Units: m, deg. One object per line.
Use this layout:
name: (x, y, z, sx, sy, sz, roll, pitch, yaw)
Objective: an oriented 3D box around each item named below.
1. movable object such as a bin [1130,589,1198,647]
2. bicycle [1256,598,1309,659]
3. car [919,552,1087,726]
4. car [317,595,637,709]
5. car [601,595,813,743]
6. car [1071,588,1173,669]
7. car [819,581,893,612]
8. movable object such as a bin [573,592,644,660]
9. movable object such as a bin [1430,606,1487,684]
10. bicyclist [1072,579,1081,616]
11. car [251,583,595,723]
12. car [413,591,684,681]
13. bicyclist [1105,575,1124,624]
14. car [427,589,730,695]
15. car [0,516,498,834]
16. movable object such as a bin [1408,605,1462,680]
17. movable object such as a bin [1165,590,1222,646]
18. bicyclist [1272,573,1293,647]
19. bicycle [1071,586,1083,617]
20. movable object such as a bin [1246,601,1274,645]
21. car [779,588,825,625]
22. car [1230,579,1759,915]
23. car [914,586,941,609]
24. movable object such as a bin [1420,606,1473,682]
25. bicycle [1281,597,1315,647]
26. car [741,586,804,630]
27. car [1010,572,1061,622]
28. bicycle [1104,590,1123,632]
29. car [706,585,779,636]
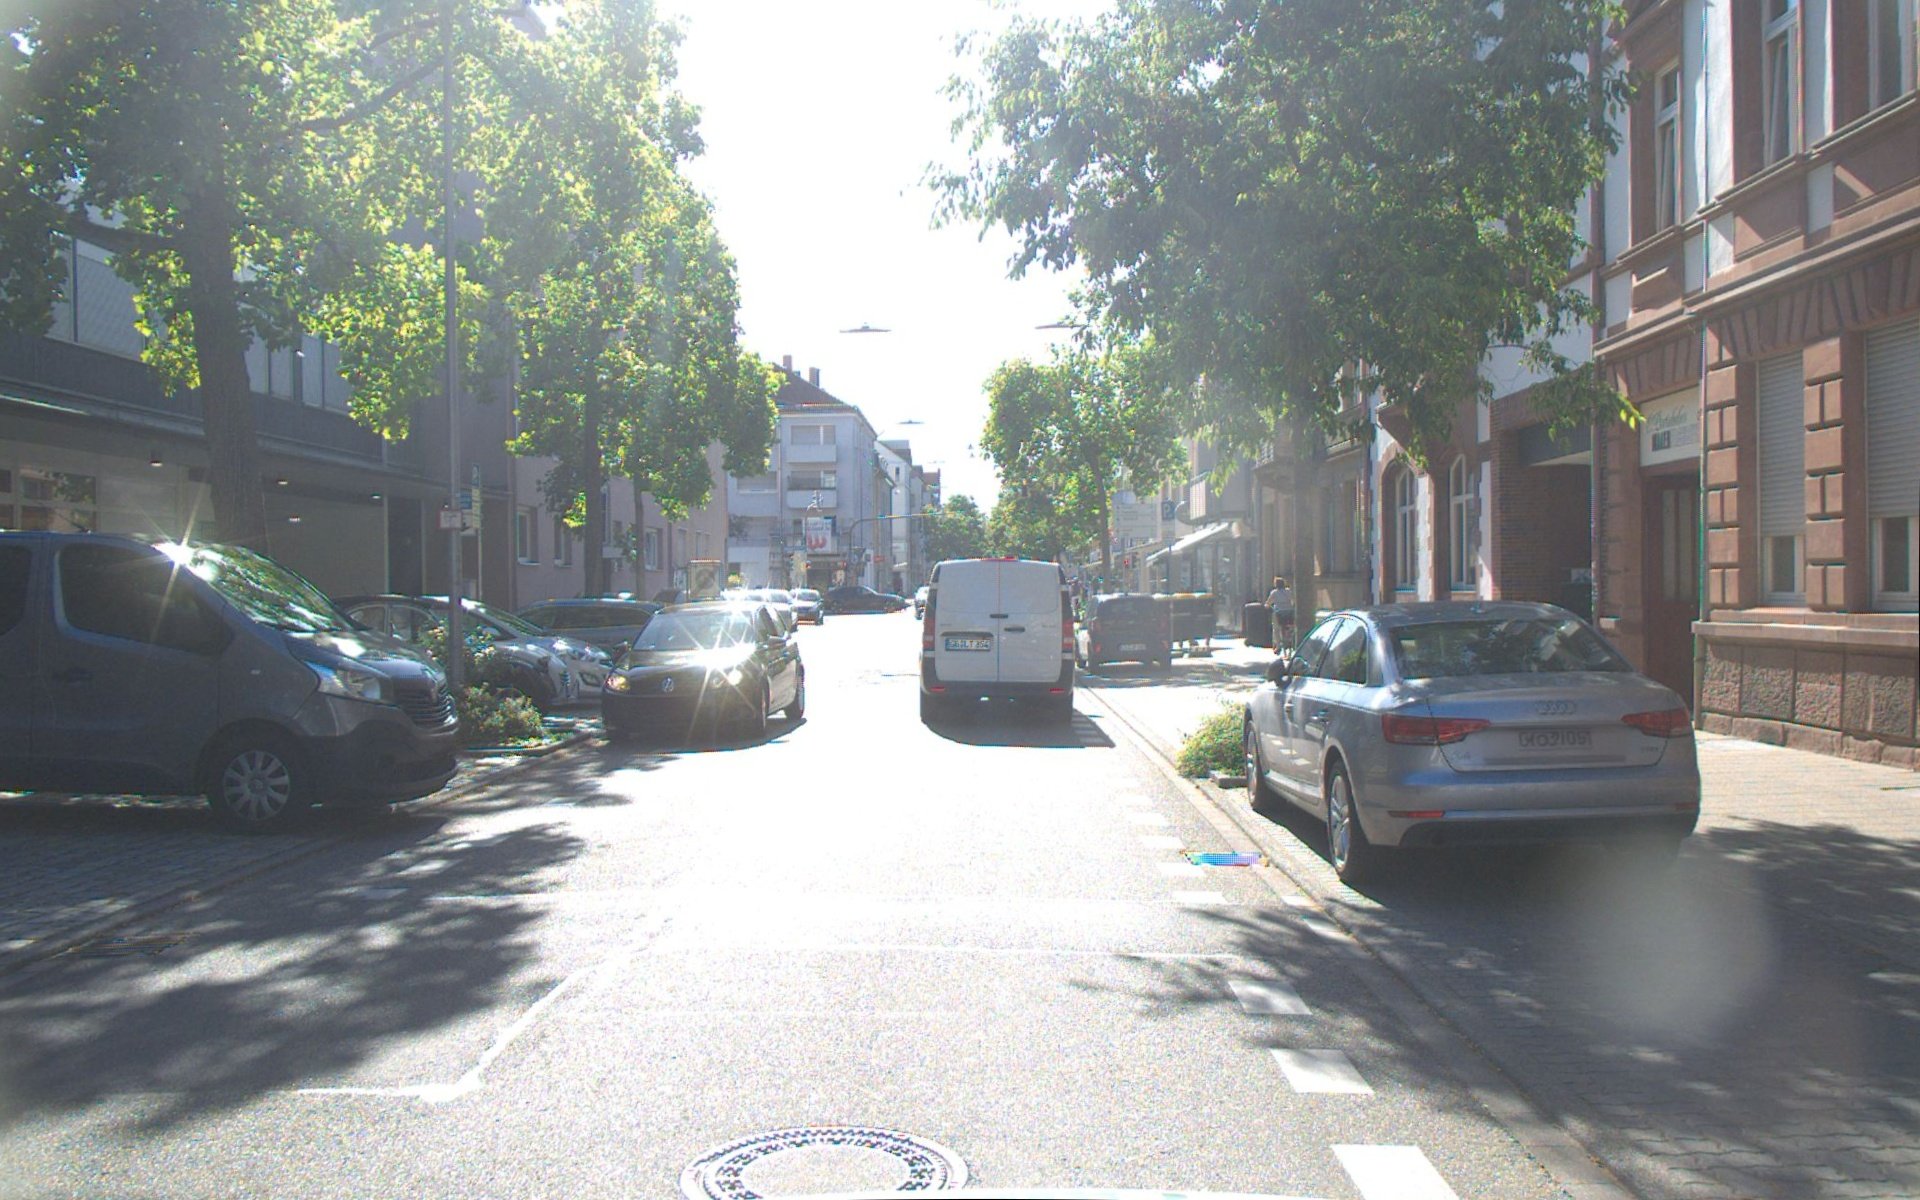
movable object such as a bin: (5.002, 0.435, 40.632, 1.260, 1.371, 1.092, -1, 0, -41)
bicycle: (6.559, 0.564, 33.699, 0.525, 1.169, 2.123, -2, 0, -3)
car: (0.470, 0.412, 21.256, 1.881, 1.947, 4.887, 1, 1, -1)
car: (-6.606, 0.699, 22.952, 3.907, 1.489, 1.812, 0, 0, -2)
car: (-2.771, 0.699, 18.931, 1.726, 1.463, 3.961, -2, 0, 1)
car: (3.169, 0.521, 32.954, 1.602, 1.501, 3.579, -1, 0, -1)
car: (-5.583, -0.199, 88.948, 3.907, 1.668, 1.999, 0, 0, -3)
movable object such as a bin: (-7.744, 0.561, 36.480, 1.204, 1.475, 1.077, 0, 0, 9)
movable object such as a bin: (7.102, 0.637, 23.584, 0.625, 1.087, 0.639, 0, 0, 0)
bicyclist: (5.144, -0.107, 73.144, 0.348, 1.603, 0.481, 1, 0, -2)
car: (-6.323, 0.600, 19.742, 3.523, 1.579, 1.684, 0, 0, 1)
car: (-7.018, 0.602, 28.461, 4.216, 1.458, 1.644, 1, 0, 1)
bicyclist: (4.896, -0.015, 52.279, 0.430, 1.534, 0.497, 5, 0, 0)
car: (-5.848, 0.621, 25.652, 4.215, 1.485, 1.763, 1, 0, 3)
car: (-6.117, 0.460, 11.568, 5.183, 2.008, 2.015, 0, 0, 0)
movable object such as a bin: (7.099, 0.630, 24.740, 0.625, 1.087, 0.632, 0, 0, 0)
movable object such as a bin: (5.895, 0.434, 41.737, 1.022, 1.371, 1.103, 0, 1, 39)
bicyclist: (6.544, 0.200, 33.582, 0.353, 1.502, 0.531, 0, 0, 3)
bicycle: (5.165, 0.051, 72.982, 0.407, 1.333, 1.334, 0, 0, -2)
movable object such as a bin: (7.349, 0.555, 40.530, 0.586, 1.060, 0.546, 0, 0, 0)
car: (-6.794, 0.270, 71.316, 1.619, 1.505, 4.000, 1, 0, 0)
car: (2.832, 0.660, 9.825, 1.703, 1.476, 4.307, -3, 0, 0)
car: (-2.048, -0.174, 104.946, 1.585, 1.422, 3.731, 1, 0, 1)
movable object such as a bin: (7.099, 0.636, 24.146, 0.625, 1.087, 0.521, 0, 0, 0)
bicycle: (7.552, 0.478, 36.988, 0.423, 1.048, 1.428, -4, 0, 0)
car: (-6.846, 0.260, 60.839, 1.740, 1.495, 4.759, 2, 0, 0)
car: (3.009, -0.141, 66.826, 1.779, 1.955, 4.644, -1, 1, 0)
bicycle: (4.836, 0.331, 52.198, 0.465, 1.296, 1.218, 0, 0, 0)
car: (-7.116, 0.321, 54.503, 1.685, 1.523, 4.626, 2, 1, 1)
